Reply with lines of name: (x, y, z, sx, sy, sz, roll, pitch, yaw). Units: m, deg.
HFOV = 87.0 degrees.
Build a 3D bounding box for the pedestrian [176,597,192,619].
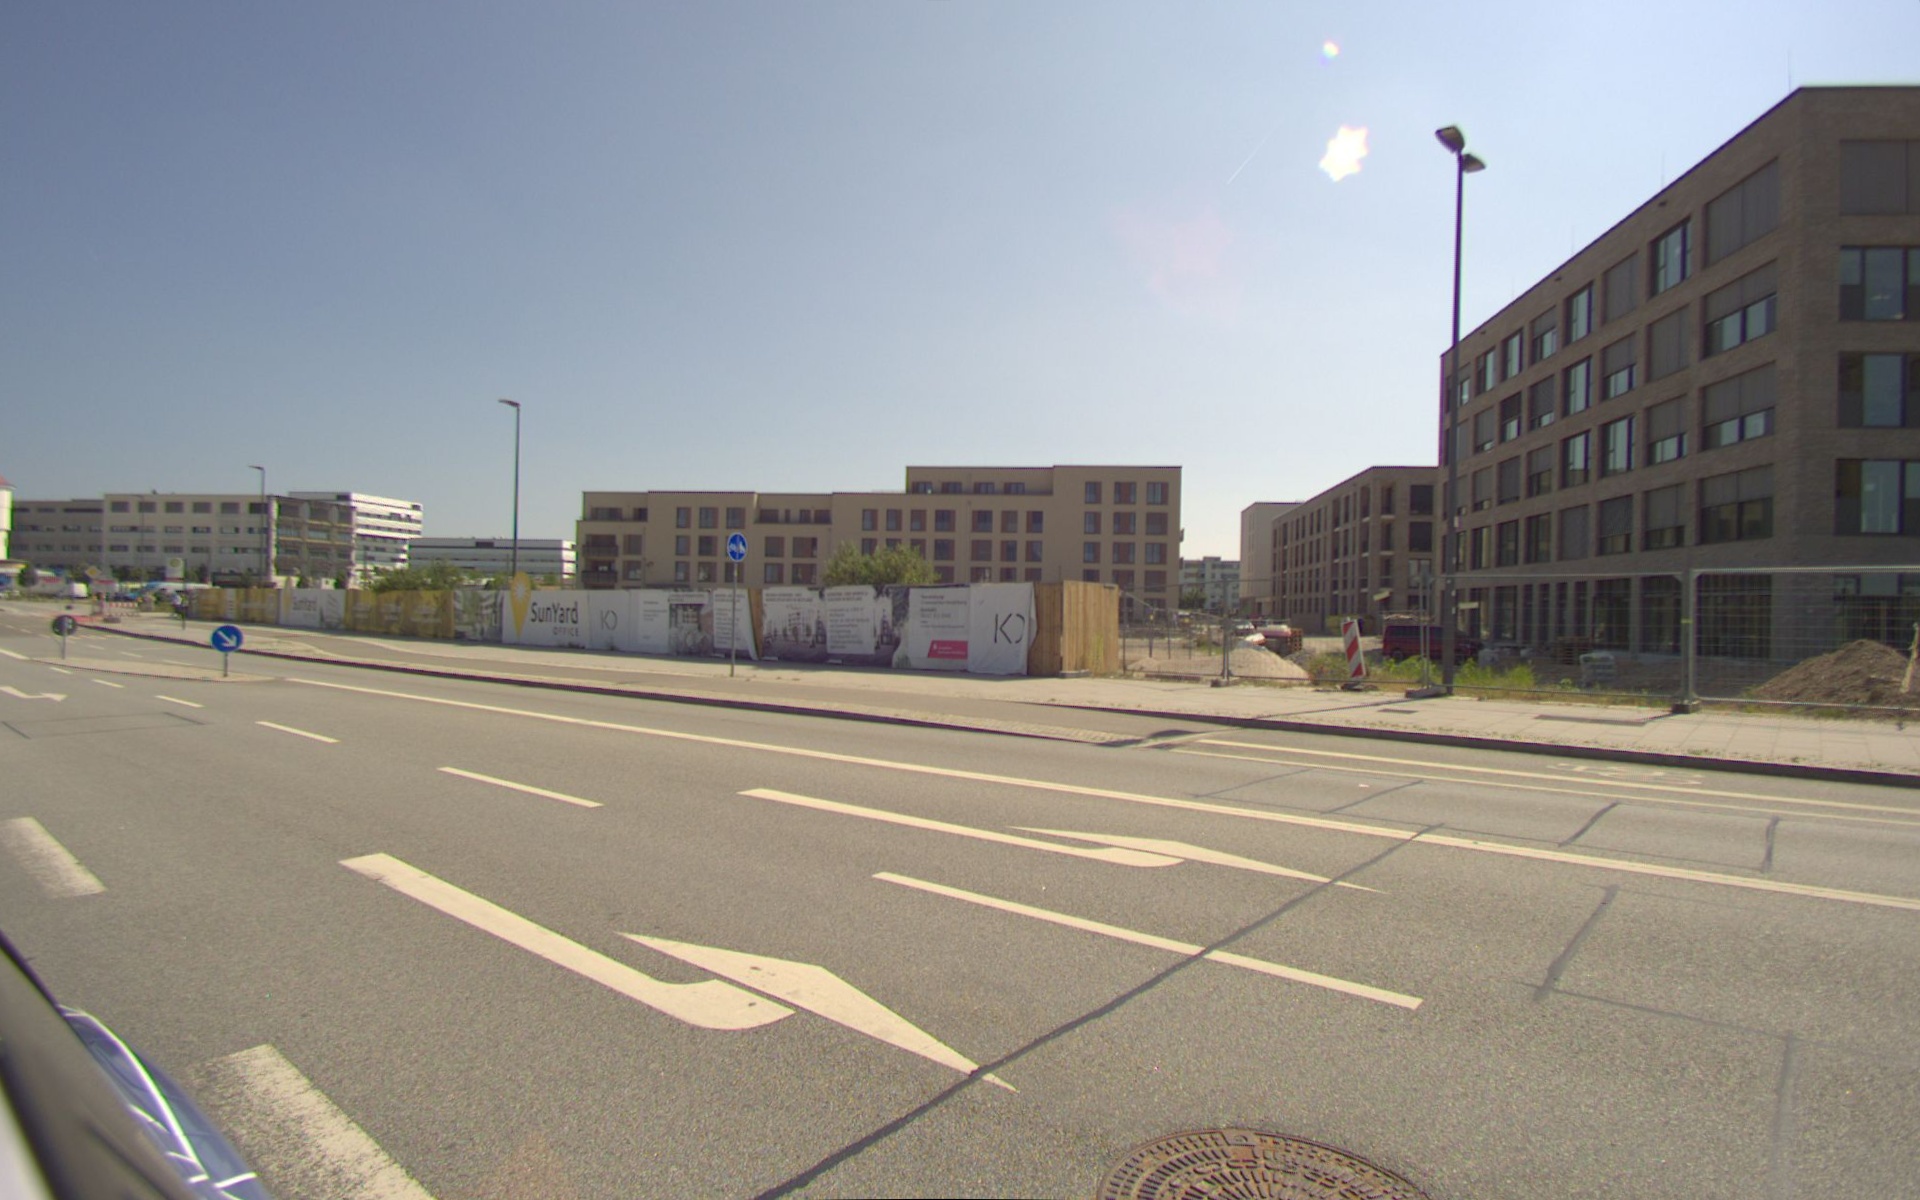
pedestrian: (-55.365, 0.560, 72.191, 0.610, 1.598, 0.703, 0, 0, 5)
